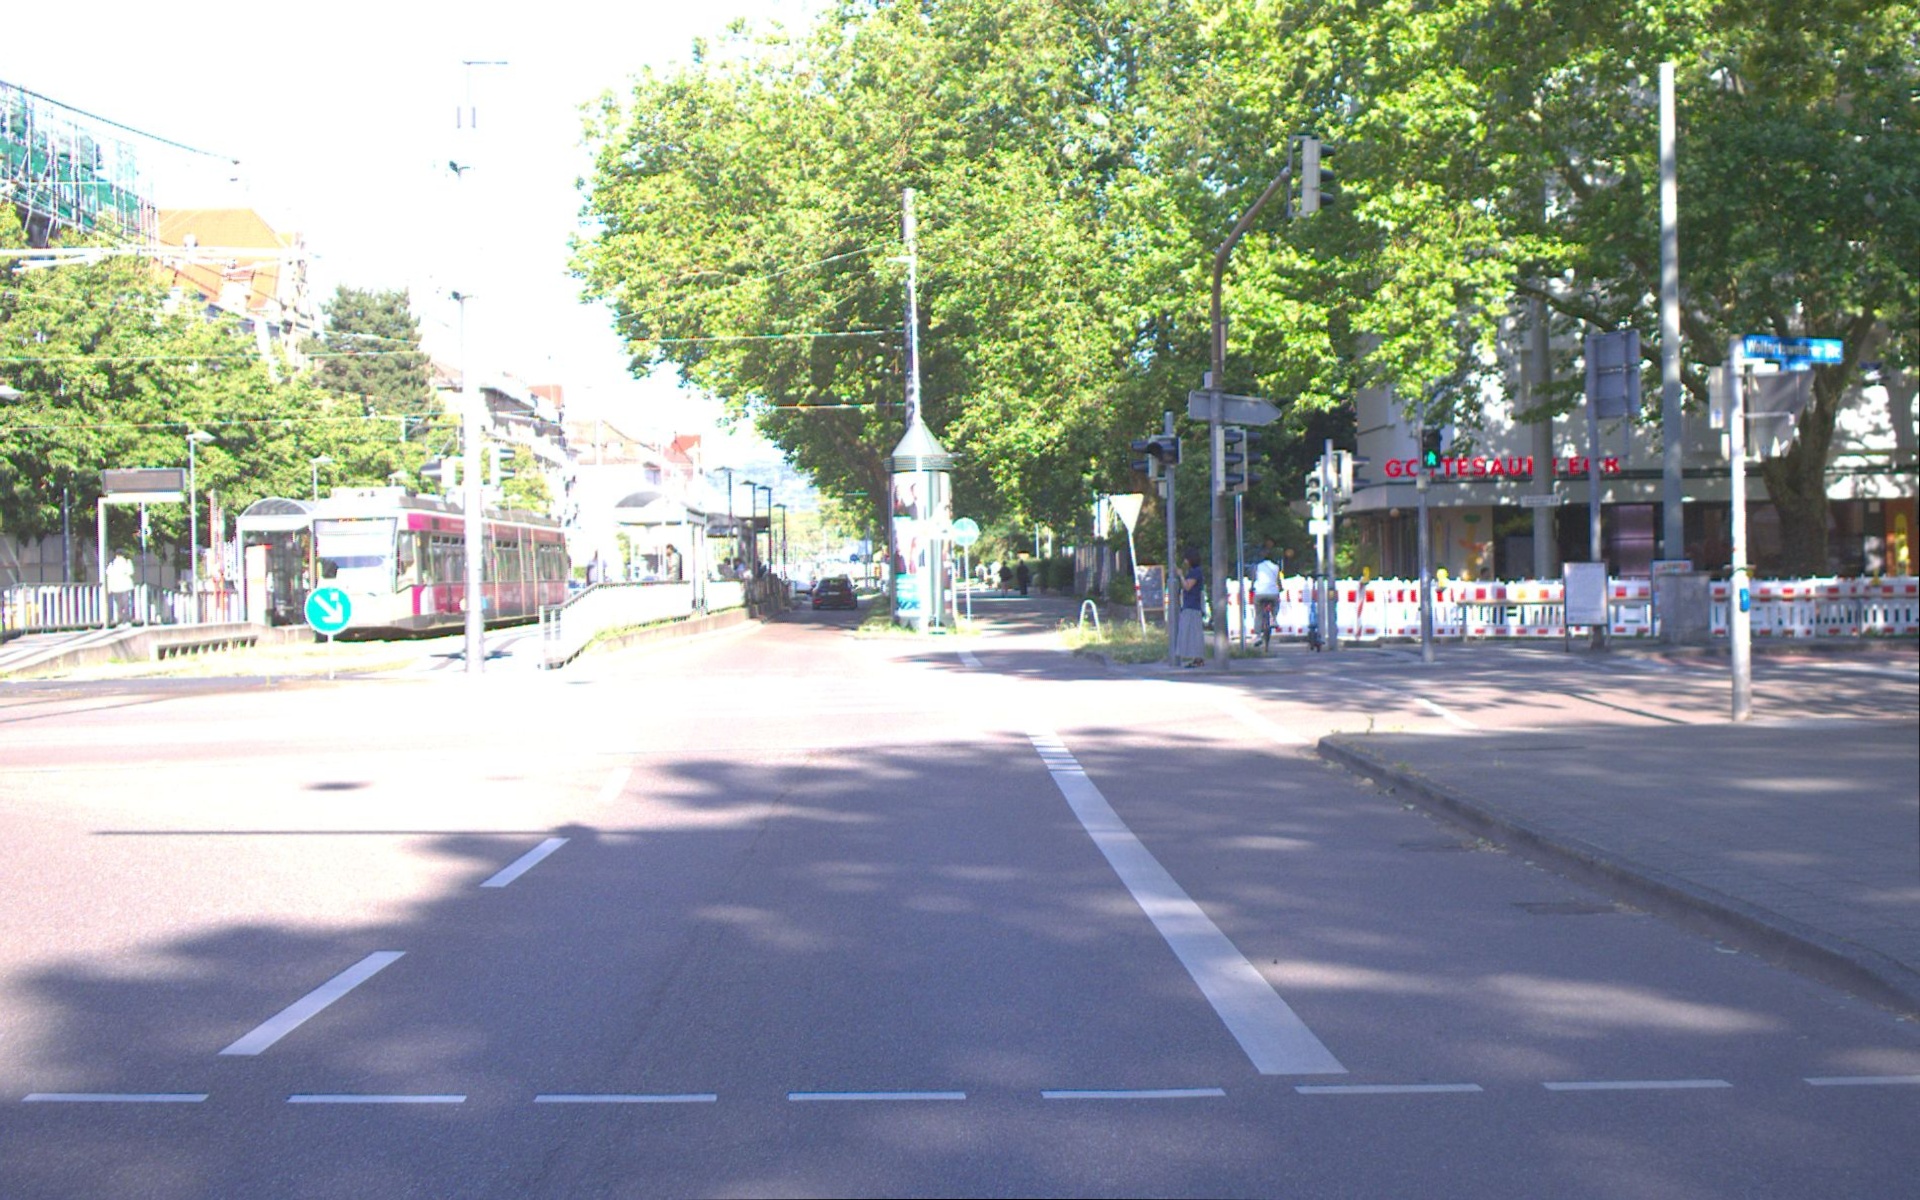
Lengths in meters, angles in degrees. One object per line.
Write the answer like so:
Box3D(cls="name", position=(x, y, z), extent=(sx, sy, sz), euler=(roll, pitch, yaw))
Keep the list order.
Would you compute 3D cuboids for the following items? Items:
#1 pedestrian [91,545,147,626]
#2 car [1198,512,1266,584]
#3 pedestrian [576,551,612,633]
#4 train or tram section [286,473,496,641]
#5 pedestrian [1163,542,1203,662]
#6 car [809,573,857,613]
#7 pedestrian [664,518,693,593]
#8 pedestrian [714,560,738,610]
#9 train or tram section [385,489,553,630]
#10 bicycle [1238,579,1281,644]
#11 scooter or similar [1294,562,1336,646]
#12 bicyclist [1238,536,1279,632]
Box3D(cls="pedestrian", position=(-16.655, -0.283, 68.080), extent=(0.899, 1.575, 0.958), euler=(1, 0, -3))
Box3D(cls="car", position=(9.717, -1.852, 123.192), extent=(1.993, 2.491, 6.346), euler=(1, 0, 1))
Box3D(cls="pedestrian", position=(-7.237, -0.152, 68.001), extent=(0.629, 1.604, 0.982), euler=(1, 0, -3))
Box3D(cls="train or tram section", position=(-13.592, -1.011, 83.517), extent=(2.869, 3.663, 14.561), euler=(-1, 0, -1))
Box3D(cls="pedestrian", position=(3.065, 0.024, 47.202), extent=(0.427, 1.633, 0.613), euler=(0, 1, -9))
Box3D(cls="car", position=(-5.537, -0.322, 150.310), extent=(1.993, 1.678, 4.000), euler=(1, 0, -1))
Box3D(cls="pedestrian", position=(-7.206, -1.144, 87.988), extent=(0.669, 1.896, 0.824), euler=(1, 0, -2))
Box3D(cls="pedestrian", position=(-7.361, -0.472, 108.253), extent=(0.678, 1.557, 0.851), euler=(1, 0, -1))
Box3D(cls="train or tram section", position=(-13.835, -1.132, 98.068), extent=(2.869, 3.673, 14.561), euler=(-1, 0, -1))
Box3D(cls="bicycle", position=(4.871, 0.178, 56.030), extent=(0.603, 1.023, 1.766), euler=(-1, 0, 2))
Box3D(cls="scooter or similar", position=(5.445, 0.055, 52.671), extent=(0.560, 1.253, 1.289), euler=(-2, 0, 7))
Box3D(cls="bicyclist", position=(4.859, -0.265, 55.995), extent=(0.603, 1.545, 0.860), euler=(-1, 0, 2))
